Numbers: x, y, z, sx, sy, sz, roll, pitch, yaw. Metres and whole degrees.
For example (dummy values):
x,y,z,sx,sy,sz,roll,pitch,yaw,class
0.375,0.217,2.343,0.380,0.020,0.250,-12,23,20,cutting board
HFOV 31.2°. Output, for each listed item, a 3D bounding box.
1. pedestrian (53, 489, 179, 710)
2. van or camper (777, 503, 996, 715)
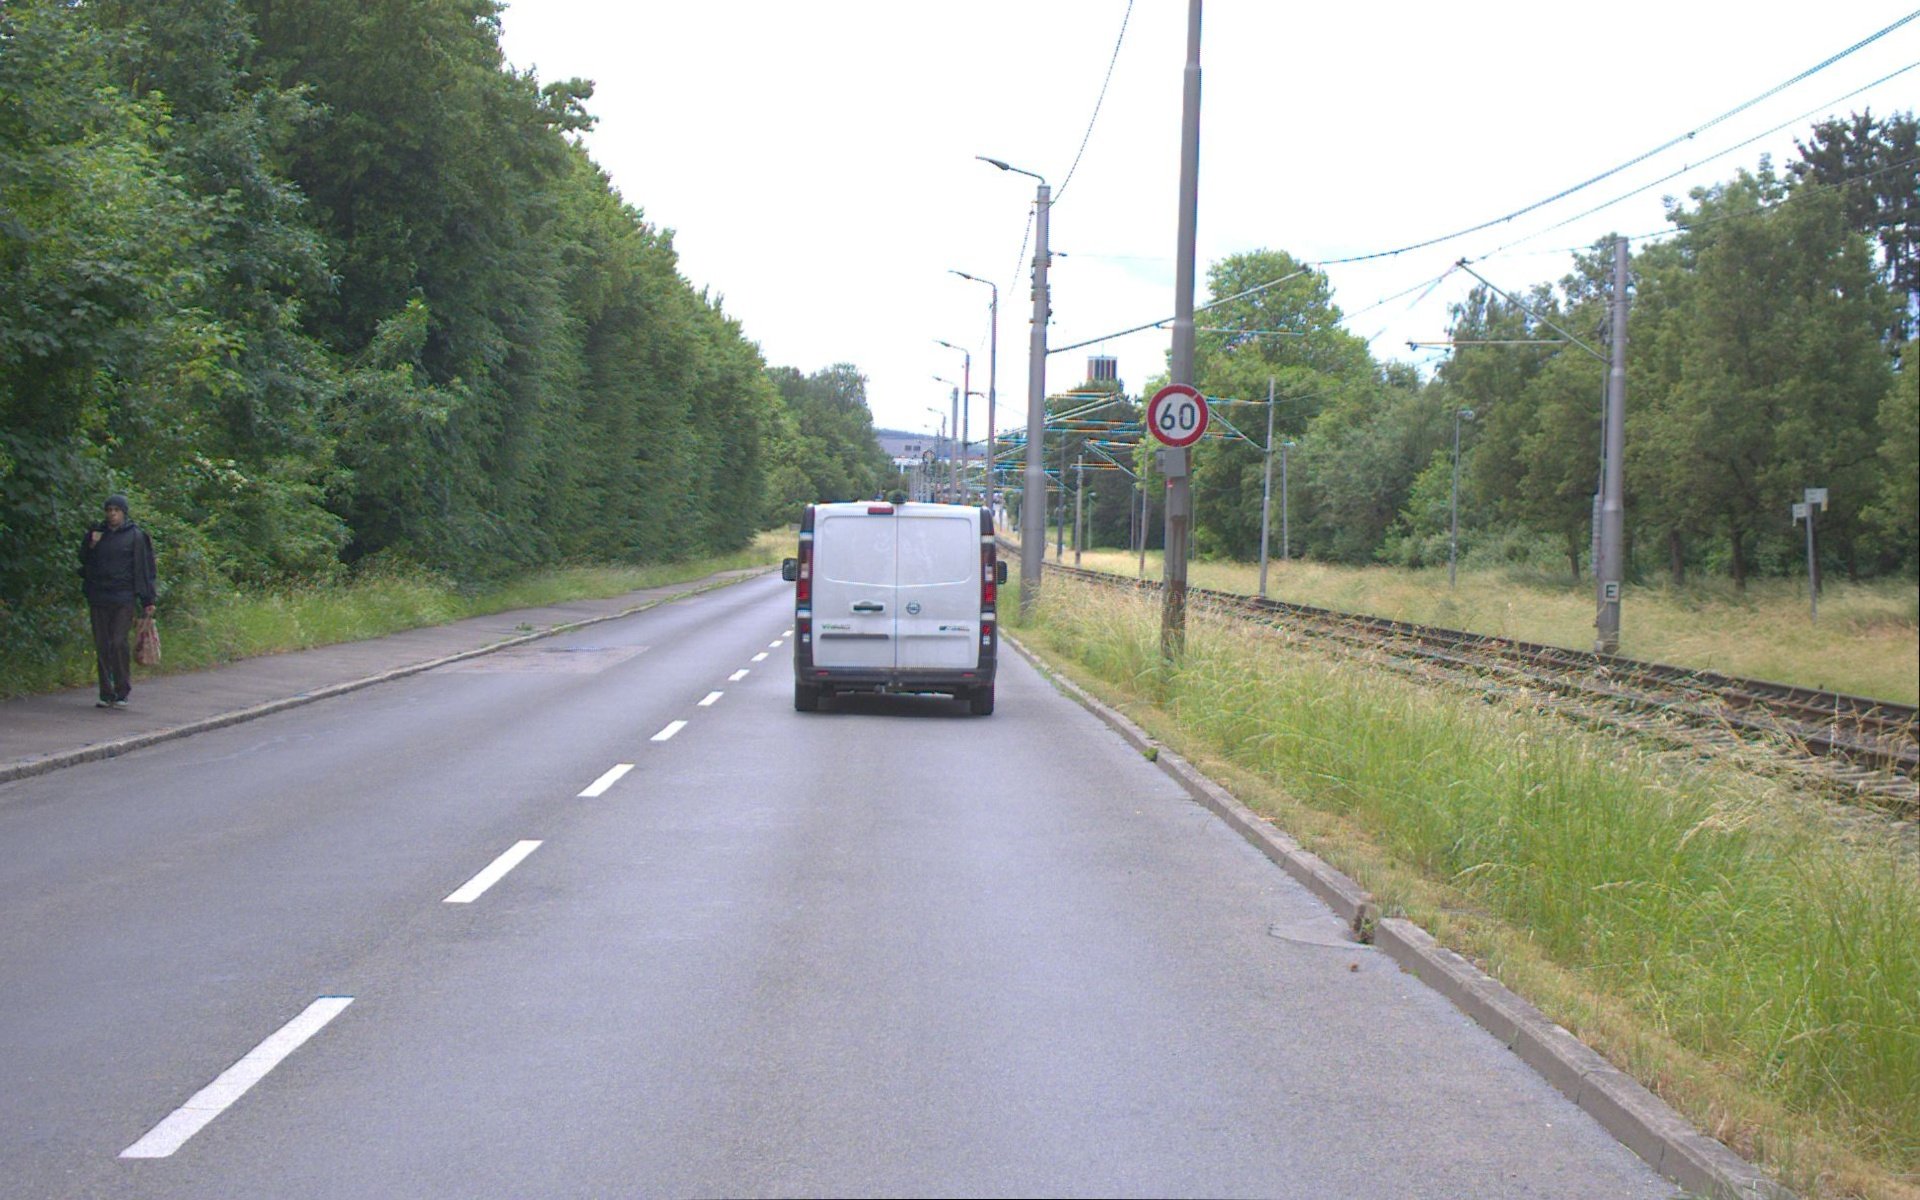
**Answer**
x,y,z,sx,sy,sz,roll,pitch,yaw,class
-6.862,-0.011,27.971,0.867,1.763,0.789,1,2,-4,pedestrian
-0.683,0.053,32.853,1.942,1.890,4.285,0,1,-1,van or camper
